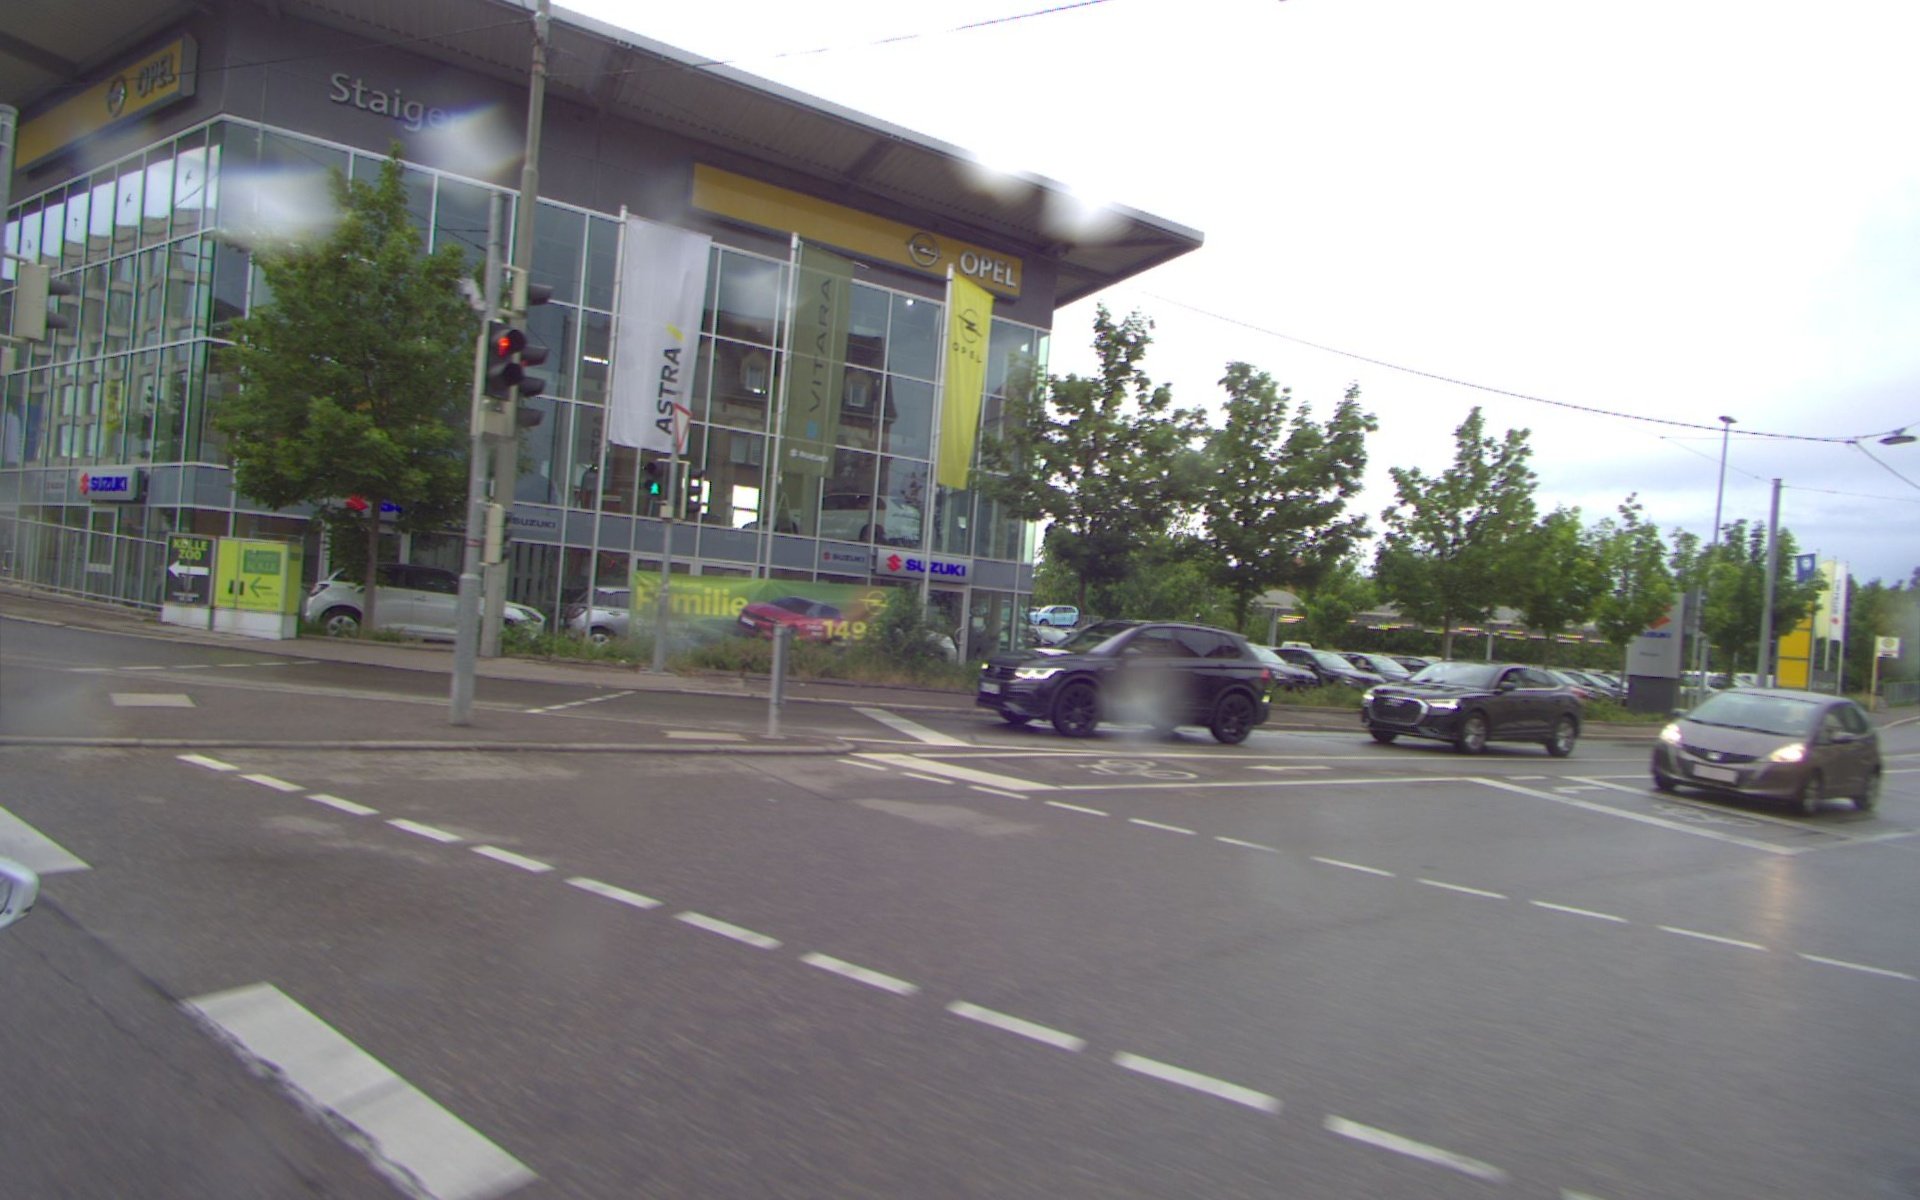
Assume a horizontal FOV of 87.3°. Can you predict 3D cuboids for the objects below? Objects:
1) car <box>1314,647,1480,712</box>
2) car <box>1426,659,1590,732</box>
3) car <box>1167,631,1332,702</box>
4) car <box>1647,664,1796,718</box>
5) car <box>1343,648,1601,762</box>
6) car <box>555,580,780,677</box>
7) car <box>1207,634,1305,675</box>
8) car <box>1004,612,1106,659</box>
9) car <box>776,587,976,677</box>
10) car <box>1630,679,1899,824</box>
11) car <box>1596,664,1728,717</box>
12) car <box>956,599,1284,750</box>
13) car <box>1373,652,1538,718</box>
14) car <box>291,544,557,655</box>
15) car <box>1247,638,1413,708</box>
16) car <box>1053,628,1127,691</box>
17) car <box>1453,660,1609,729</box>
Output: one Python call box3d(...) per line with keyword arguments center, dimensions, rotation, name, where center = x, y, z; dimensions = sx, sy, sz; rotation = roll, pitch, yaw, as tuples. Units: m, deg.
box3d(center=(12.158, 2.190, 28.265), dimensions=(1.704, 1.265, 3.969), rotation=(6, 0, -29), name="car")
box3d(center=(16.660, 2.865, 30.782), dimensions=(1.704, 1.616, 3.969), rotation=(6, 0, -29), name="car")
box3d(center=(7.391, 1.670, 26.078), dimensions=(1.704, 1.300, 3.969), rotation=(6, 0, -29), name="car")
box3d(center=(30.625, 3.623, 40.600), dimensions=(1.704, 1.509, 4.344), rotation=(6, 0, -29), name="car")
box3d(center=(8.818, 1.814, 17.257), dimensions=(4.205, 1.523, 1.792), rotation=(6, 0, -29), name="car")
box3d(center=(-5.821, 0.578, 20.044), dimensions=(3.950, 1.548, 1.815), rotation=(6, -1, -27), name="car")
box3d(center=(13.320, 2.434, 45.540), dimensions=(1.891, 1.324, 3.969), rotation=(6, 0, -29), name="car")
box3d(center=(3.591, 1.329, 38.710), dimensions=(1.891, 1.324, 3.969), rotation=(6, 0, -29), name="car")
box3d(center=(-1.860, 0.714, 22.378), dimensions=(3.950, 1.611, 1.815), rotation=(6, -1, -27), name="car")
box3d(center=(11.086, 2.013, 13.787), dimensions=(3.964, 1.472, 1.825), rotation=(6, 1, -37), name="car")
box3d(center=(27.582, 3.531, 39.628), dimensions=(1.704, 1.509, 3.784), rotation=(6, 0, -29), name="car")
box3d(center=(2.278, 1.066, 14.294), dimensions=(4.199, 1.683, 1.795), rotation=(6, 0, -24), name="car")
box3d(center=(14.426, 2.448, 29.516), dimensions=(1.704, 1.324, 3.969), rotation=(6, 0, -29), name="car")
box3d(center=(-9.585, 0.057, 18.164), dimensions=(3.957, 1.525, 1.885), rotation=(6, -4, -31), name="car")
box3d(center=(9.894, 1.927, 27.198), dimensions=(1.704, 1.324, 3.969), rotation=(6, 0, -29), name="car")
box3d(center=(3.718, 1.668, 28.824), dimensions=(1.790, 1.470, 4.004), rotation=(7, -1, 8), name="car")
box3d(center=(18.488, 3.022, 32.748), dimensions=(1.704, 1.616, 3.969), rotation=(6, 0, -29), name="car")
